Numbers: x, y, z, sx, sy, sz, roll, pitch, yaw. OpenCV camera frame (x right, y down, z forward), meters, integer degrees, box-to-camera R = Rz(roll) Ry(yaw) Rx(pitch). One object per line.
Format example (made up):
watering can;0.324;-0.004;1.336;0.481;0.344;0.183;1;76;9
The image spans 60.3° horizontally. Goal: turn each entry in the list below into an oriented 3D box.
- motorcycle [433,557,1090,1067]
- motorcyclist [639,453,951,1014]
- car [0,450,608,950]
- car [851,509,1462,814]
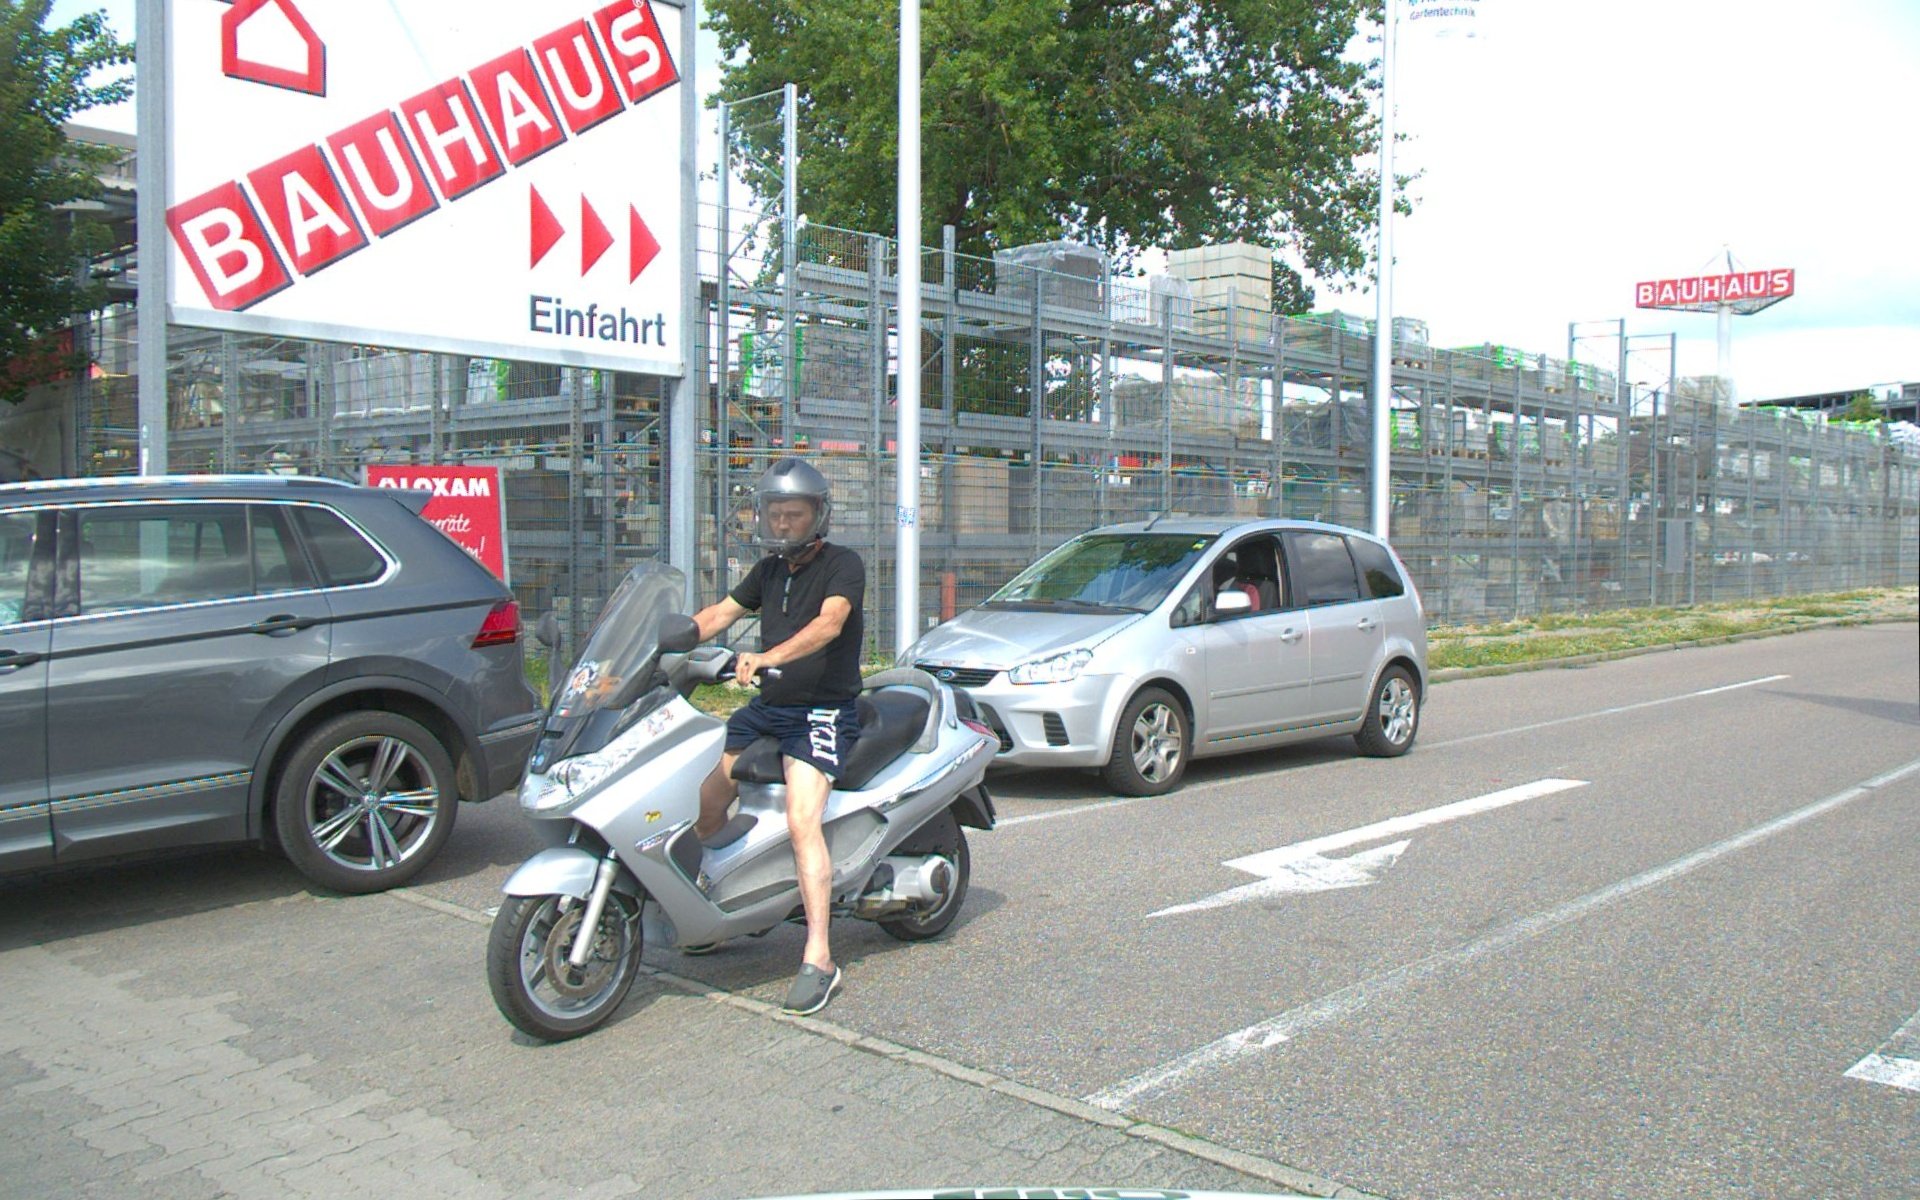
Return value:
motorcycle;-0.538;0.539;5.395;0.661;1.328;2.197;2;3;45
motorcyclist;-0.538;0.376;5.389;0.681;1.657;0.776;-2;3;-44
car;-3.766;0.324;6.415;4.337;1.694;1.748;-4;4;-35
car;1.424;0.239;10.704;4.177;1.591;1.695;-2;3;-44
